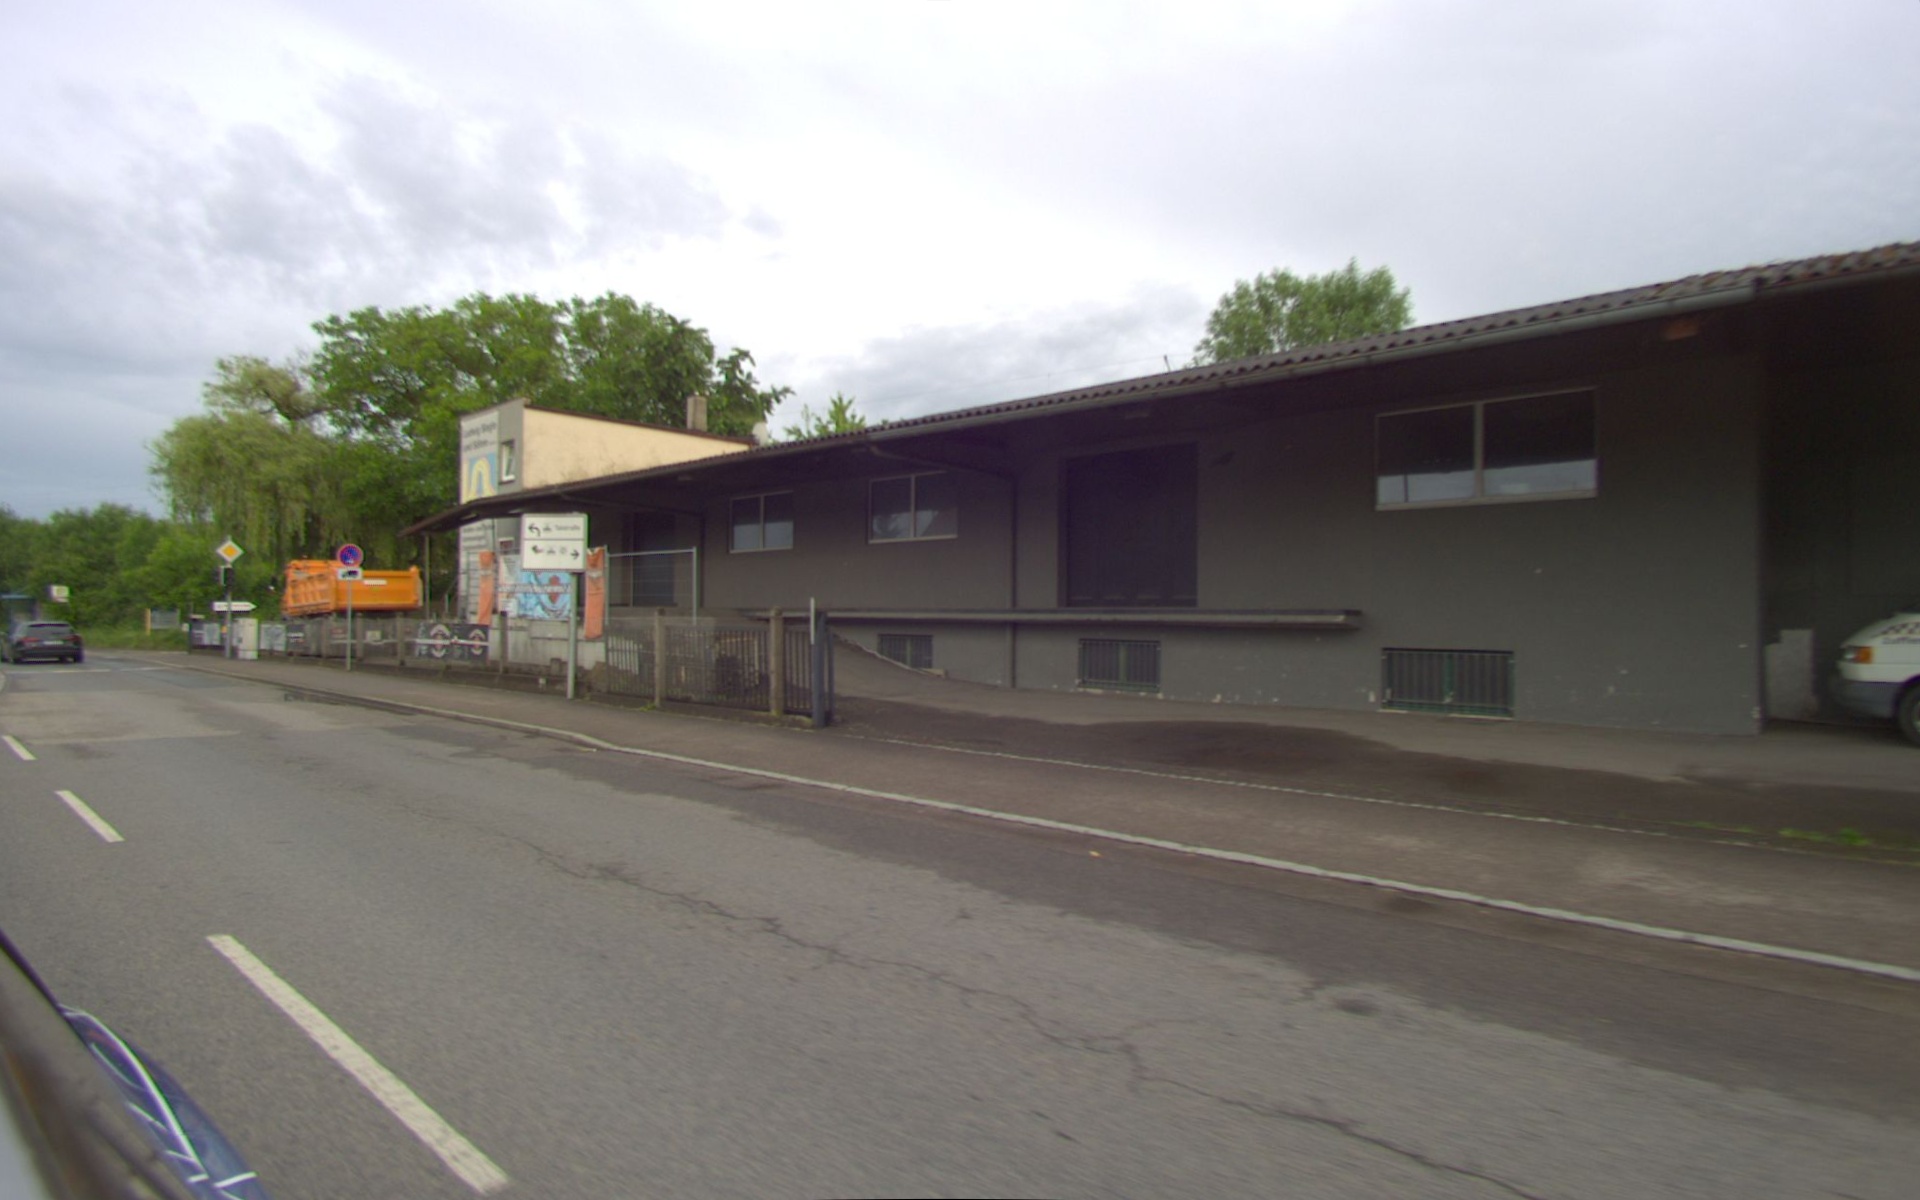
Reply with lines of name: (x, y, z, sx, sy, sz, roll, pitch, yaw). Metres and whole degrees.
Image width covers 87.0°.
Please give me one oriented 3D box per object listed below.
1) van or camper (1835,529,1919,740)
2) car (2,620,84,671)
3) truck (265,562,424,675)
van or camper: (10.638, 0.279, 8.855, 4.469, 1.923, 1.973, -1, 1, 41)
car: (-32.142, 1.525, 35.445, 4.543, 1.462, 1.723, 2, 2, 43)
truck: (-21.479, 0.438, 35.030, 2.666, 3.437, 9.079, -2, 2, -44)
